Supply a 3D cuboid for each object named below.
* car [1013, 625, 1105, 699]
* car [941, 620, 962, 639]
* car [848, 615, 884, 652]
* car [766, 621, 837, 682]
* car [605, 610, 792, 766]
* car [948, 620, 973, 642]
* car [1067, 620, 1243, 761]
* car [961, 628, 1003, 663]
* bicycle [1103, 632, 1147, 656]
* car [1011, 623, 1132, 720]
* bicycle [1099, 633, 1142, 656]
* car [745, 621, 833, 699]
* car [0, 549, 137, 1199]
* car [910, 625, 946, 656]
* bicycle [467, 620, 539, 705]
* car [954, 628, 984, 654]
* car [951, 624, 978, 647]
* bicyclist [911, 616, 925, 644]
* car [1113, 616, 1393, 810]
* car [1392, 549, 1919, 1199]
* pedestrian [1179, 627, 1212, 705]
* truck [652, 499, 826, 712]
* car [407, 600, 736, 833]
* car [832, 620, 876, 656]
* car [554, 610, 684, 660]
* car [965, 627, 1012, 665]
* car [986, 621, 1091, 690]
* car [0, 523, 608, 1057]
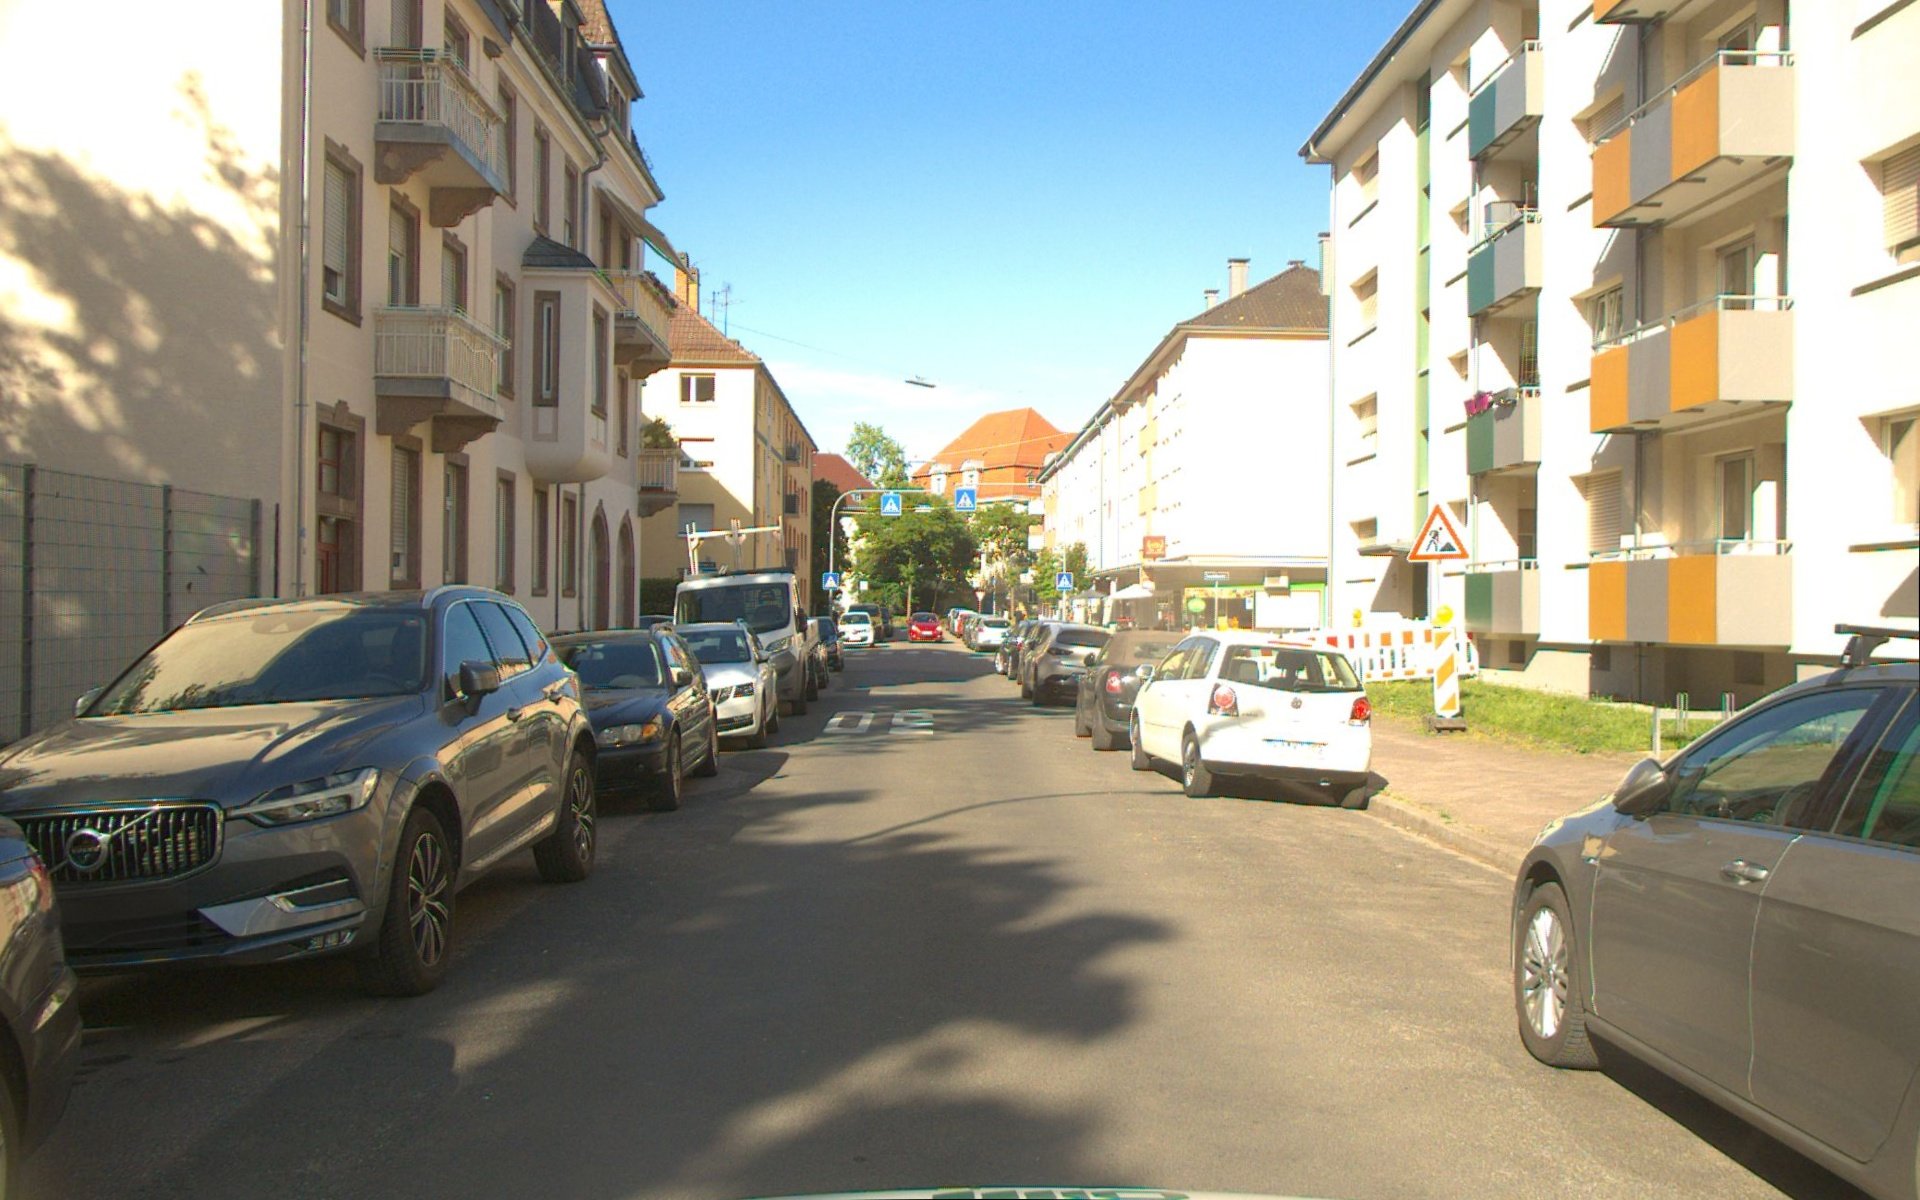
[{"bbox_3d":[2.122,1.339,36.299,1.612,1.485,3.937,2,-2,-2],"label":"car"},{"bbox_3d":[-0.706,2.421,134.894,1.605,1.466,3.417,1,-1,-2],"label":"car"},{"bbox_3d":[-4.772,1.698,84.237,1.663,1.810,4.097,1,-1,-1],"label":"car"},{"bbox_3d":[-4.143,1.343,43.778,1.670,1.441,4.370,-3,-1,-4],"label":"car"},{"bbox_3d":[-3.115,0.986,20.577,1.757,1.567,4.638,-4,0,-4],"label":"car"},{"bbox_3d":[0.027,2.134,115.710,1.605,1.466,3.417,1,-1,-2],"label":"car"},{"bbox_3d":[2.346,1.059,20.715,1.654,1.492,3.582,4,-1,-1],"label":"car"},{"bbox_3d":[0.969,2.028,73.802,1.657,1.466,3.416,1,-1,-3],"label":"car"},{"bbox_3d":[7.186,1.922,72.071,1.774,0.984,0.671,2,-1,-12],"label":"bicycle"},{"bbox_3d":[1.965,1.268,30.378,1.756,1.496,4.337,5,-1,-1],"label":"car"},{"bbox_3d":[7.048,1.961,72.695,1.774,0.984,0.671,2,-1,-12],"label":"bicycle"},{"bbox_3d":[-3.512,1.228,34.502,1.613,1.441,4.077,-3,-1,-4],"label":"car"},{"bbox_3d":[-2.868,0.624,1.915,1.758,1.497,4.499,-1,-1,-3],"label":"car"},{"bbox_3d":[-1.563,1.989,81.849,1.663,1.466,3.418,1,-1,0],"label":"car"},{"bbox_3d":[-7.505,0.996,27.273,0.558,1.301,2.340,1,0,-1],"label":"bicycle"},{"bbox_3d":[0.528,2.469,100.308,1.605,1.466,3.417,1,-1,-2],"label":"car"},{"bbox_3d":[0.271,2.270,106.371,1.605,1.466,3.417,1,-1,-2],"label":"car"},{"bbox_3d":[-2.428,1.746,96.056,0.769,1.649,0.956,0,-1,3],"label":"bicyclist"},{"bbox_3d":[2.701,1.006,16.117,1.653,1.487,3.816,7,-1,-4],"label":"car"},{"bbox_3d":[2.871,0.795,4.604,1.861,1.650,4.599,4,-1,-3],"label":"car"},{"bbox_3d":[4.497,1.252,31.566,0.563,1.459,0.471,0,0,0],"label":"pedestrian"},{"bbox_3d":[-3.495,0.160,27.639,2.214,3.039,7.271,1,-1,-3],"label":"truck"},{"bbox_3d":[-3.117,0.891,14.215,1.756,1.590,4.458,-3,-1,-1],"label":"car"},{"bbox_3d":[-4.653,1.678,73.202,1.755,1.506,4.097,0,0,-1],"label":"car"},{"bbox_3d":[-11.012,1.129,53.342,3.919,1.505,1.586,2,-1,-19],"label":"car"},{"bbox_3d":[1.166,1.898,68.938,1.808,1.466,3.417,1,-1,-2],"label":"car"},{"bbox_3d":[1.869,1.353,41.055,1.818,1.550,4.770,2,-2,-7],"label":"car"},{"bbox_3d":[-3.034,0.640,7.726,1.840,1.693,4.929,0,-1,-2],"label":"car"}]
